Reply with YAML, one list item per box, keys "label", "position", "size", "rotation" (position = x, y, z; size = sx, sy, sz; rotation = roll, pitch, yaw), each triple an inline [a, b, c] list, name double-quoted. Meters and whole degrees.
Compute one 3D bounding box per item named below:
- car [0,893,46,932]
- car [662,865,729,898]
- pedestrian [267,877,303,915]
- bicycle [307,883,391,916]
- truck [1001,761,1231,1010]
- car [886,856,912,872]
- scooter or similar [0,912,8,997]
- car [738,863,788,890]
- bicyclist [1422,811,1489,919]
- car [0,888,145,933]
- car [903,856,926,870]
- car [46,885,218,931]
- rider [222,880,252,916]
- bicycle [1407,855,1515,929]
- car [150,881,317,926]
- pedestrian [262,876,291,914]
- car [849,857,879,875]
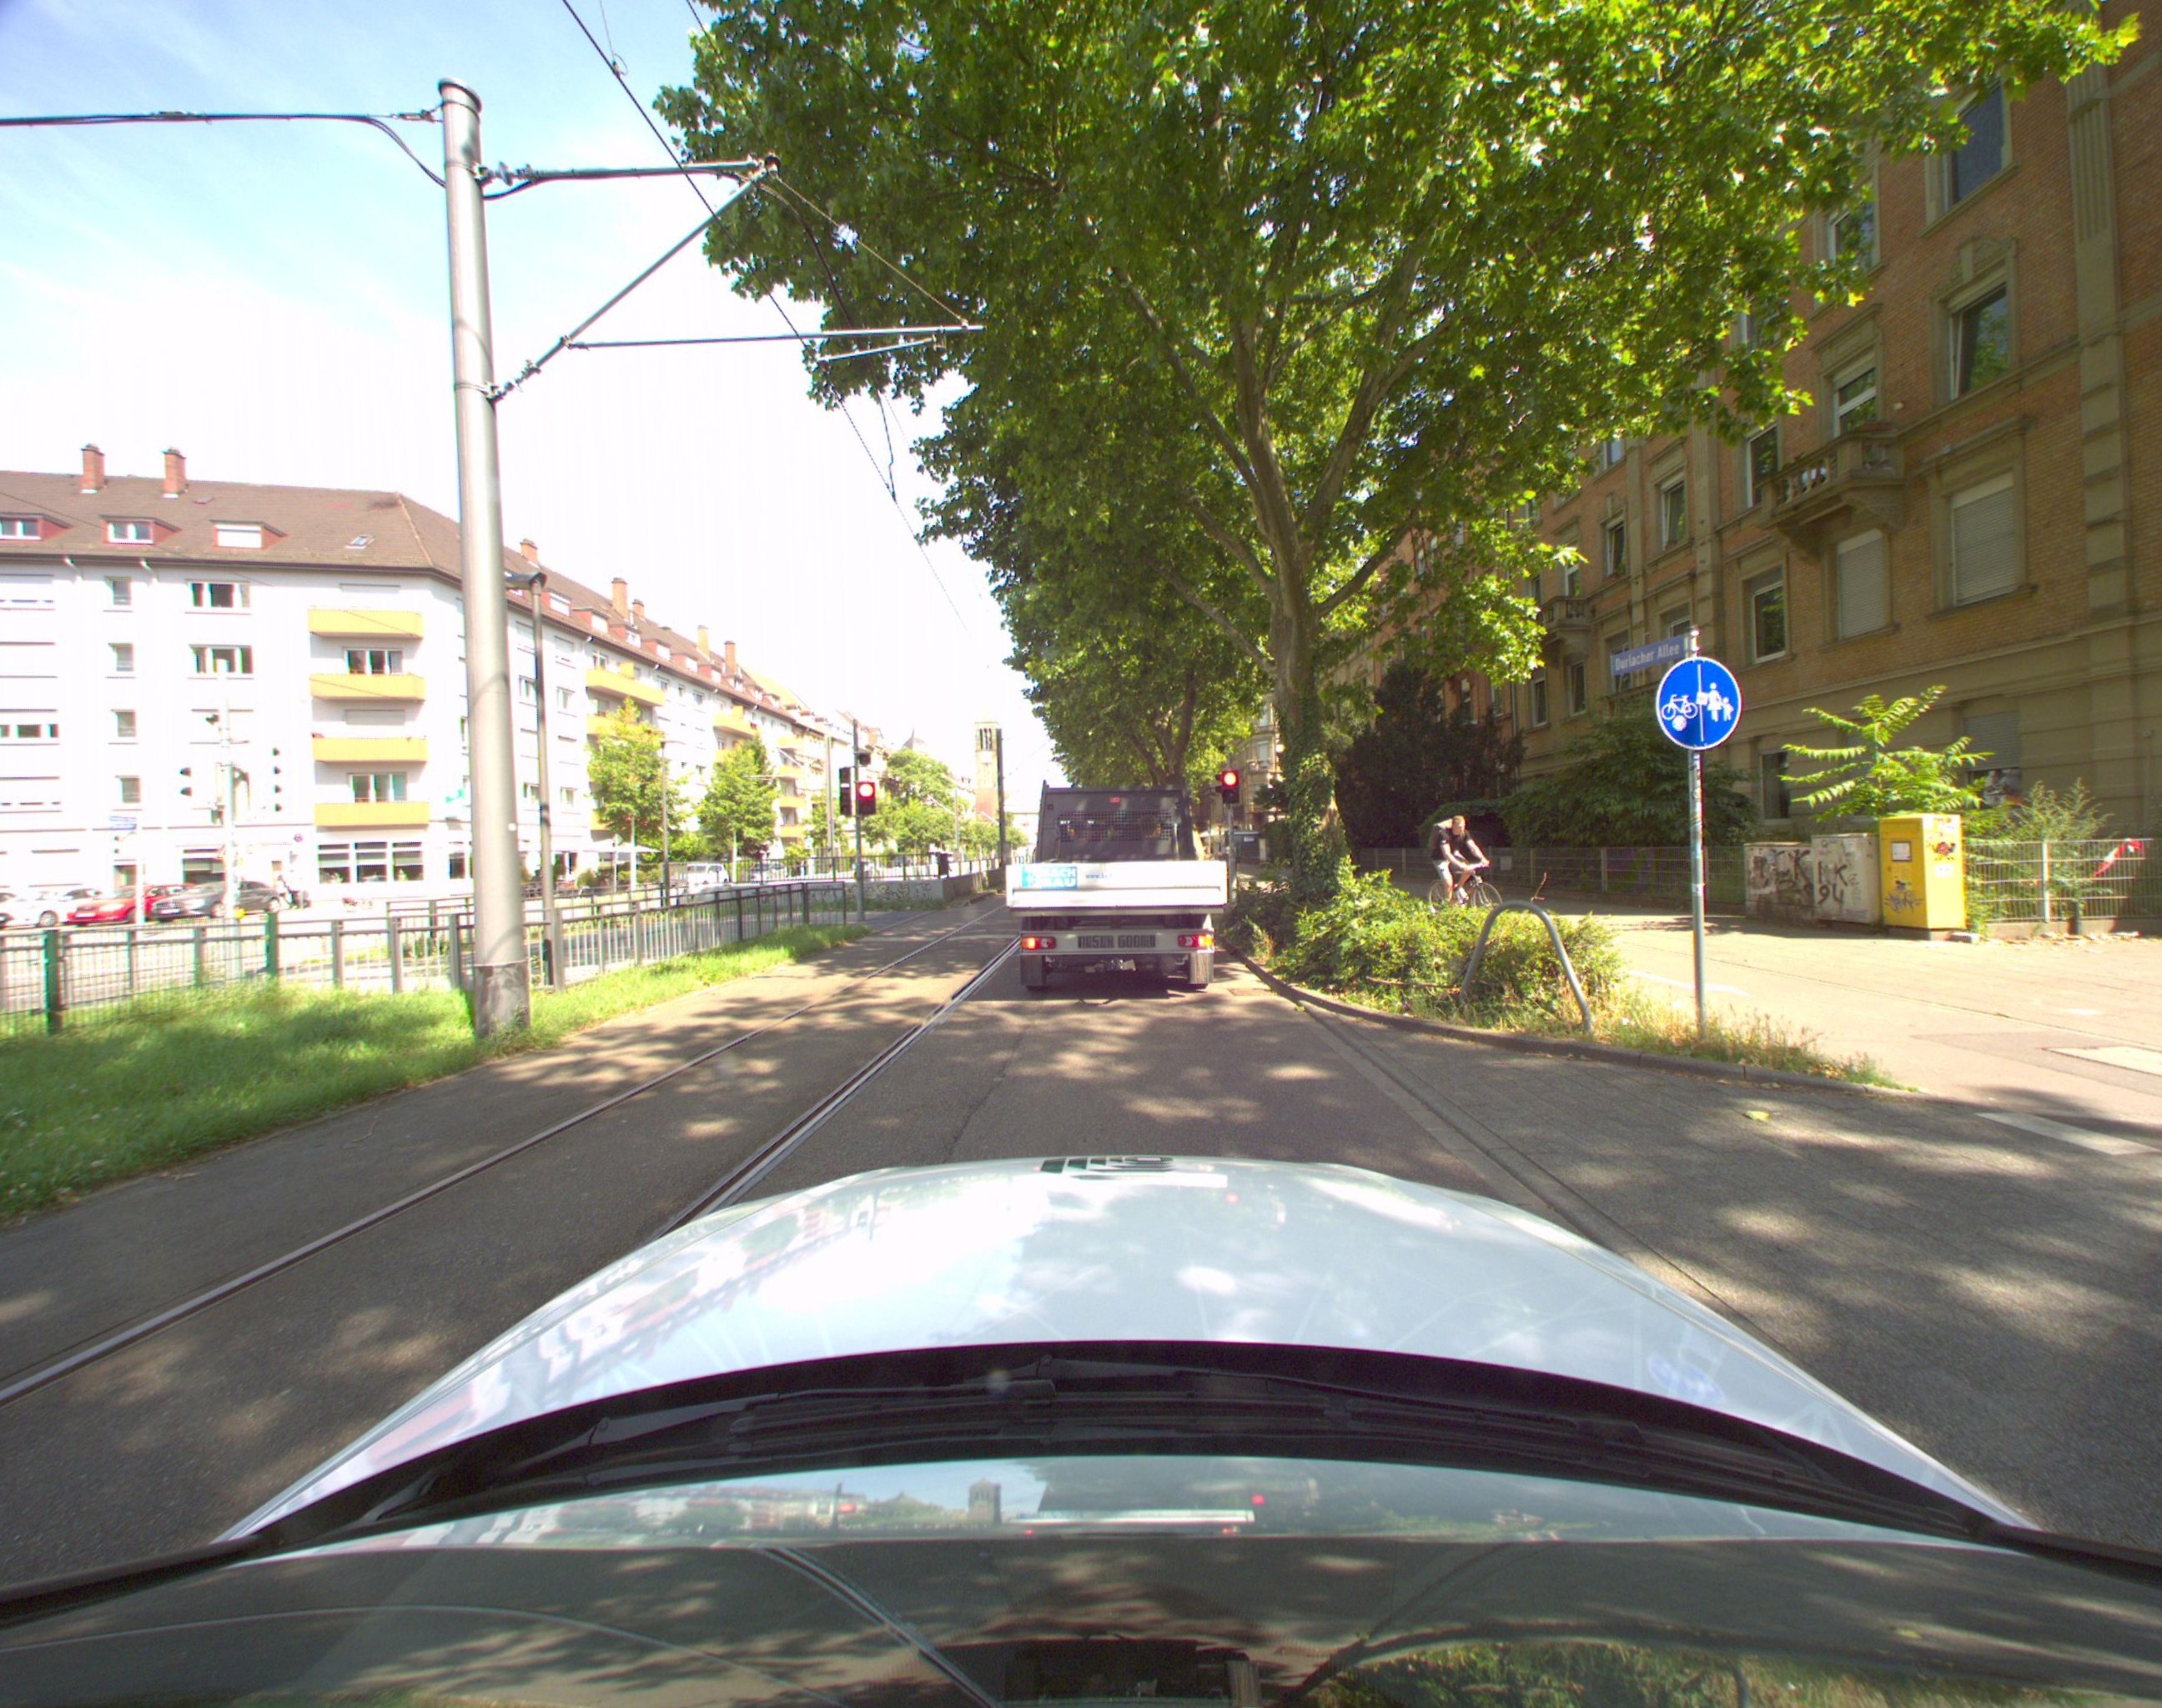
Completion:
- label: "car"
  position: [-41.837, 2.276, 30.131]
  size: [1.930, 1.406, 4.158]
  rotation: [-2, 0, -6]
- label: "car"
  position: [-20.521, 1.427, 43.527]
  size: [1.767, 1.498, 3.994]
  rotation: [-4, 0, -4]
- label: "pedestrian"
  position: [-34.702, 1.810, 35.517]
  size: [0.861, 1.572, 0.685]
  rotation: [-2, 0, -22]
- label: "bicycle"
  position: [-30.079, 1.848, 33.548]
  size: [0.908, 1.137, 2.807]
  rotation: [-2, 0, -2]
- label: "truck"
  position: [0.427, 0.285, 9.833]
  size: [2.130, 2.319, 4.404]
  rotation: [-1, 0, 3]
- label: "car"
  position: [-19.478, 1.042, 87.119]
  size: [1.764, 1.498, 4.000]
  rotation: [-2, 0, 0]
- label: "scooter or similar"
  position: [-15.936, 1.456, 11.188]
  size: [0.650, 1.204, 1.277]
  rotation: [-2, 0, 20]
- label: "car"
  position: [-20.310, 1.388, 52.109]
  size: [1.767, 1.498, 3.994]
  rotation: [-4, 0, -4]
- label: "bicyclist"
  position: [5.845, 0.161, 12.749]
  size: [0.622, 1.623, 0.693]
  rotation: [-3, 0, -8]
- label: "car"
  position: [-39.286, 2.128, 31.337]
  size: [1.930, 1.406, 4.158]
  rotation: [-2, 0, -6]
- label: "car"
  position: [-19.403, 1.008, 94.960]
  size: [1.764, 1.498, 4.000]
  rotation: [-2, 0, 0]
- label: "car"
  position: [-36.499, 2.018, 31.507]
  size: [1.930, 1.406, 4.158]
  rotation: [-2, 0, -6]
- label: "rider"
  position: [-35.654, 1.851, 34.393]
  size: [0.624, 1.423, 0.587]
  rotation: [-2, 0, -15]
- label: "bicycle"
  position: [5.861, 0.552, 12.691]
  size: [0.530, 1.049, 1.921]
  rotation: [-2, 0, -8]
- label: "car"
  position: [-33.142, 1.893, 32.082]
  size: [1.830, 1.376, 4.637]
  rotation: [-2, 0, -4]
- label: "pedestrian"
  position: [-34.502, 1.755, 34.922]
  size: [0.690, 1.572, 0.542]
  rotation: [-2, 0, -22]
- label: "car"
  position: [-19.616, 1.097, 73.748]
  size: [1.767, 1.498, 3.994]
  rotation: [-2, 0, -4]
